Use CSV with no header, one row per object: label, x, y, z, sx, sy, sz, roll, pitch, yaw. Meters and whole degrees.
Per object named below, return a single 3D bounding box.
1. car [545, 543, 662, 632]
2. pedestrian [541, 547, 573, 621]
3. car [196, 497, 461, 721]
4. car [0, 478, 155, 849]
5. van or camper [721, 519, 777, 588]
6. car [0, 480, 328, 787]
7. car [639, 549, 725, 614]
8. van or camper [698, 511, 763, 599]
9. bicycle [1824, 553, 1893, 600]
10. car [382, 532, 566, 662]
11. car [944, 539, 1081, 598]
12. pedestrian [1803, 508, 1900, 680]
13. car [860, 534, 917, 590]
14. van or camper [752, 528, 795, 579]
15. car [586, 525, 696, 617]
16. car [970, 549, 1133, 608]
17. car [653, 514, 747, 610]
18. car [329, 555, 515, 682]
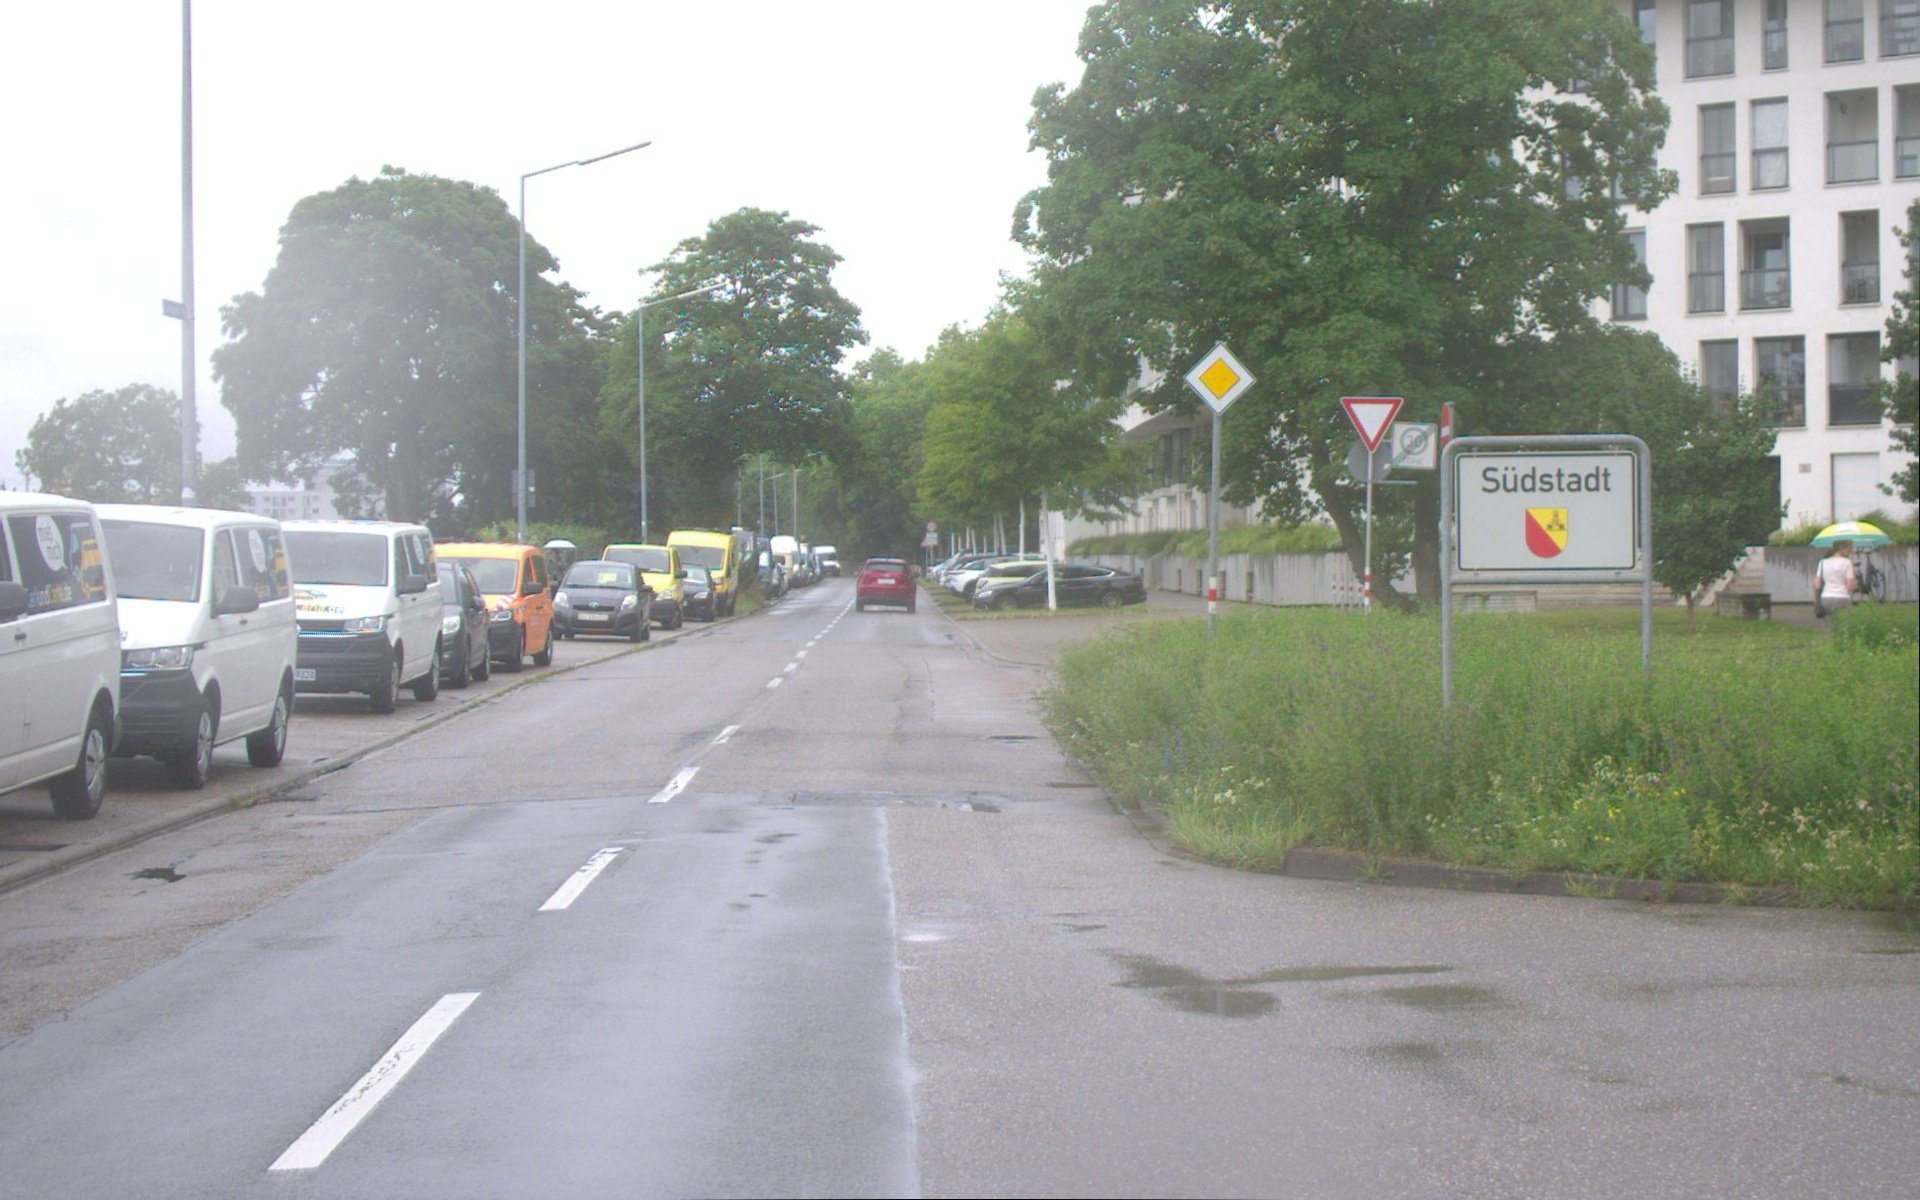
car,-6.751,-0.257,65.419,1.804,1.556,4.033,2,1,-1
pedestrian,-11.039,-0.447,94.170,0.742,2.007,0.980,1,1,0
car,-6.694,0.043,37.020,1.942,2.228,5.558,0,1,-1
car,-6.150,0.327,19.688,1.895,2.007,5.258,0,1,-1
van or camper,-8.755,-1.915,143.036,2.094,2.706,7.575,2,0,-3
car,-6.183,0.178,25.774,1.959,2.051,5.274,1,1,-1
car,-7.292,-0.497,90.584,1.993,1.588,5.018,2,0,-2
van or camper,-8.415,-1.616,126.751,2.094,3.084,6.425,2,0,-2
bicycle,20.348,-0.534,77.813,0.724,1.029,2.068,0,1,38
car,-6.818,-0.067,48.618,1.940,1.761,4.331,0,1,1
car,1.827,-1.104,120.714,4.539,1.679,1.886,-5,1,-3
pedestrian,10.469,-0.076,40.382,0.965,2.007,0.623,-1,1,-1
car,-2.214,-1.179,106.773,1.756,1.700,4.000,0,1,-1
van or camper,-10.356,-2.580,191.137,1.993,2.752,7.898,1,0,-1
car,-7.215,-0.664,78.282,2.017,1.950,6.065,2,0,-1
car,2.582,-0.615,97.820,4.487,1.476,1.692,-3,1,-1
car,-7.705,-1.140,102.594,2.192,2.685,6.081,2,1,0
car,-6.723,0.187,43.357,1.683,1.497,4.892,0,1,-1
